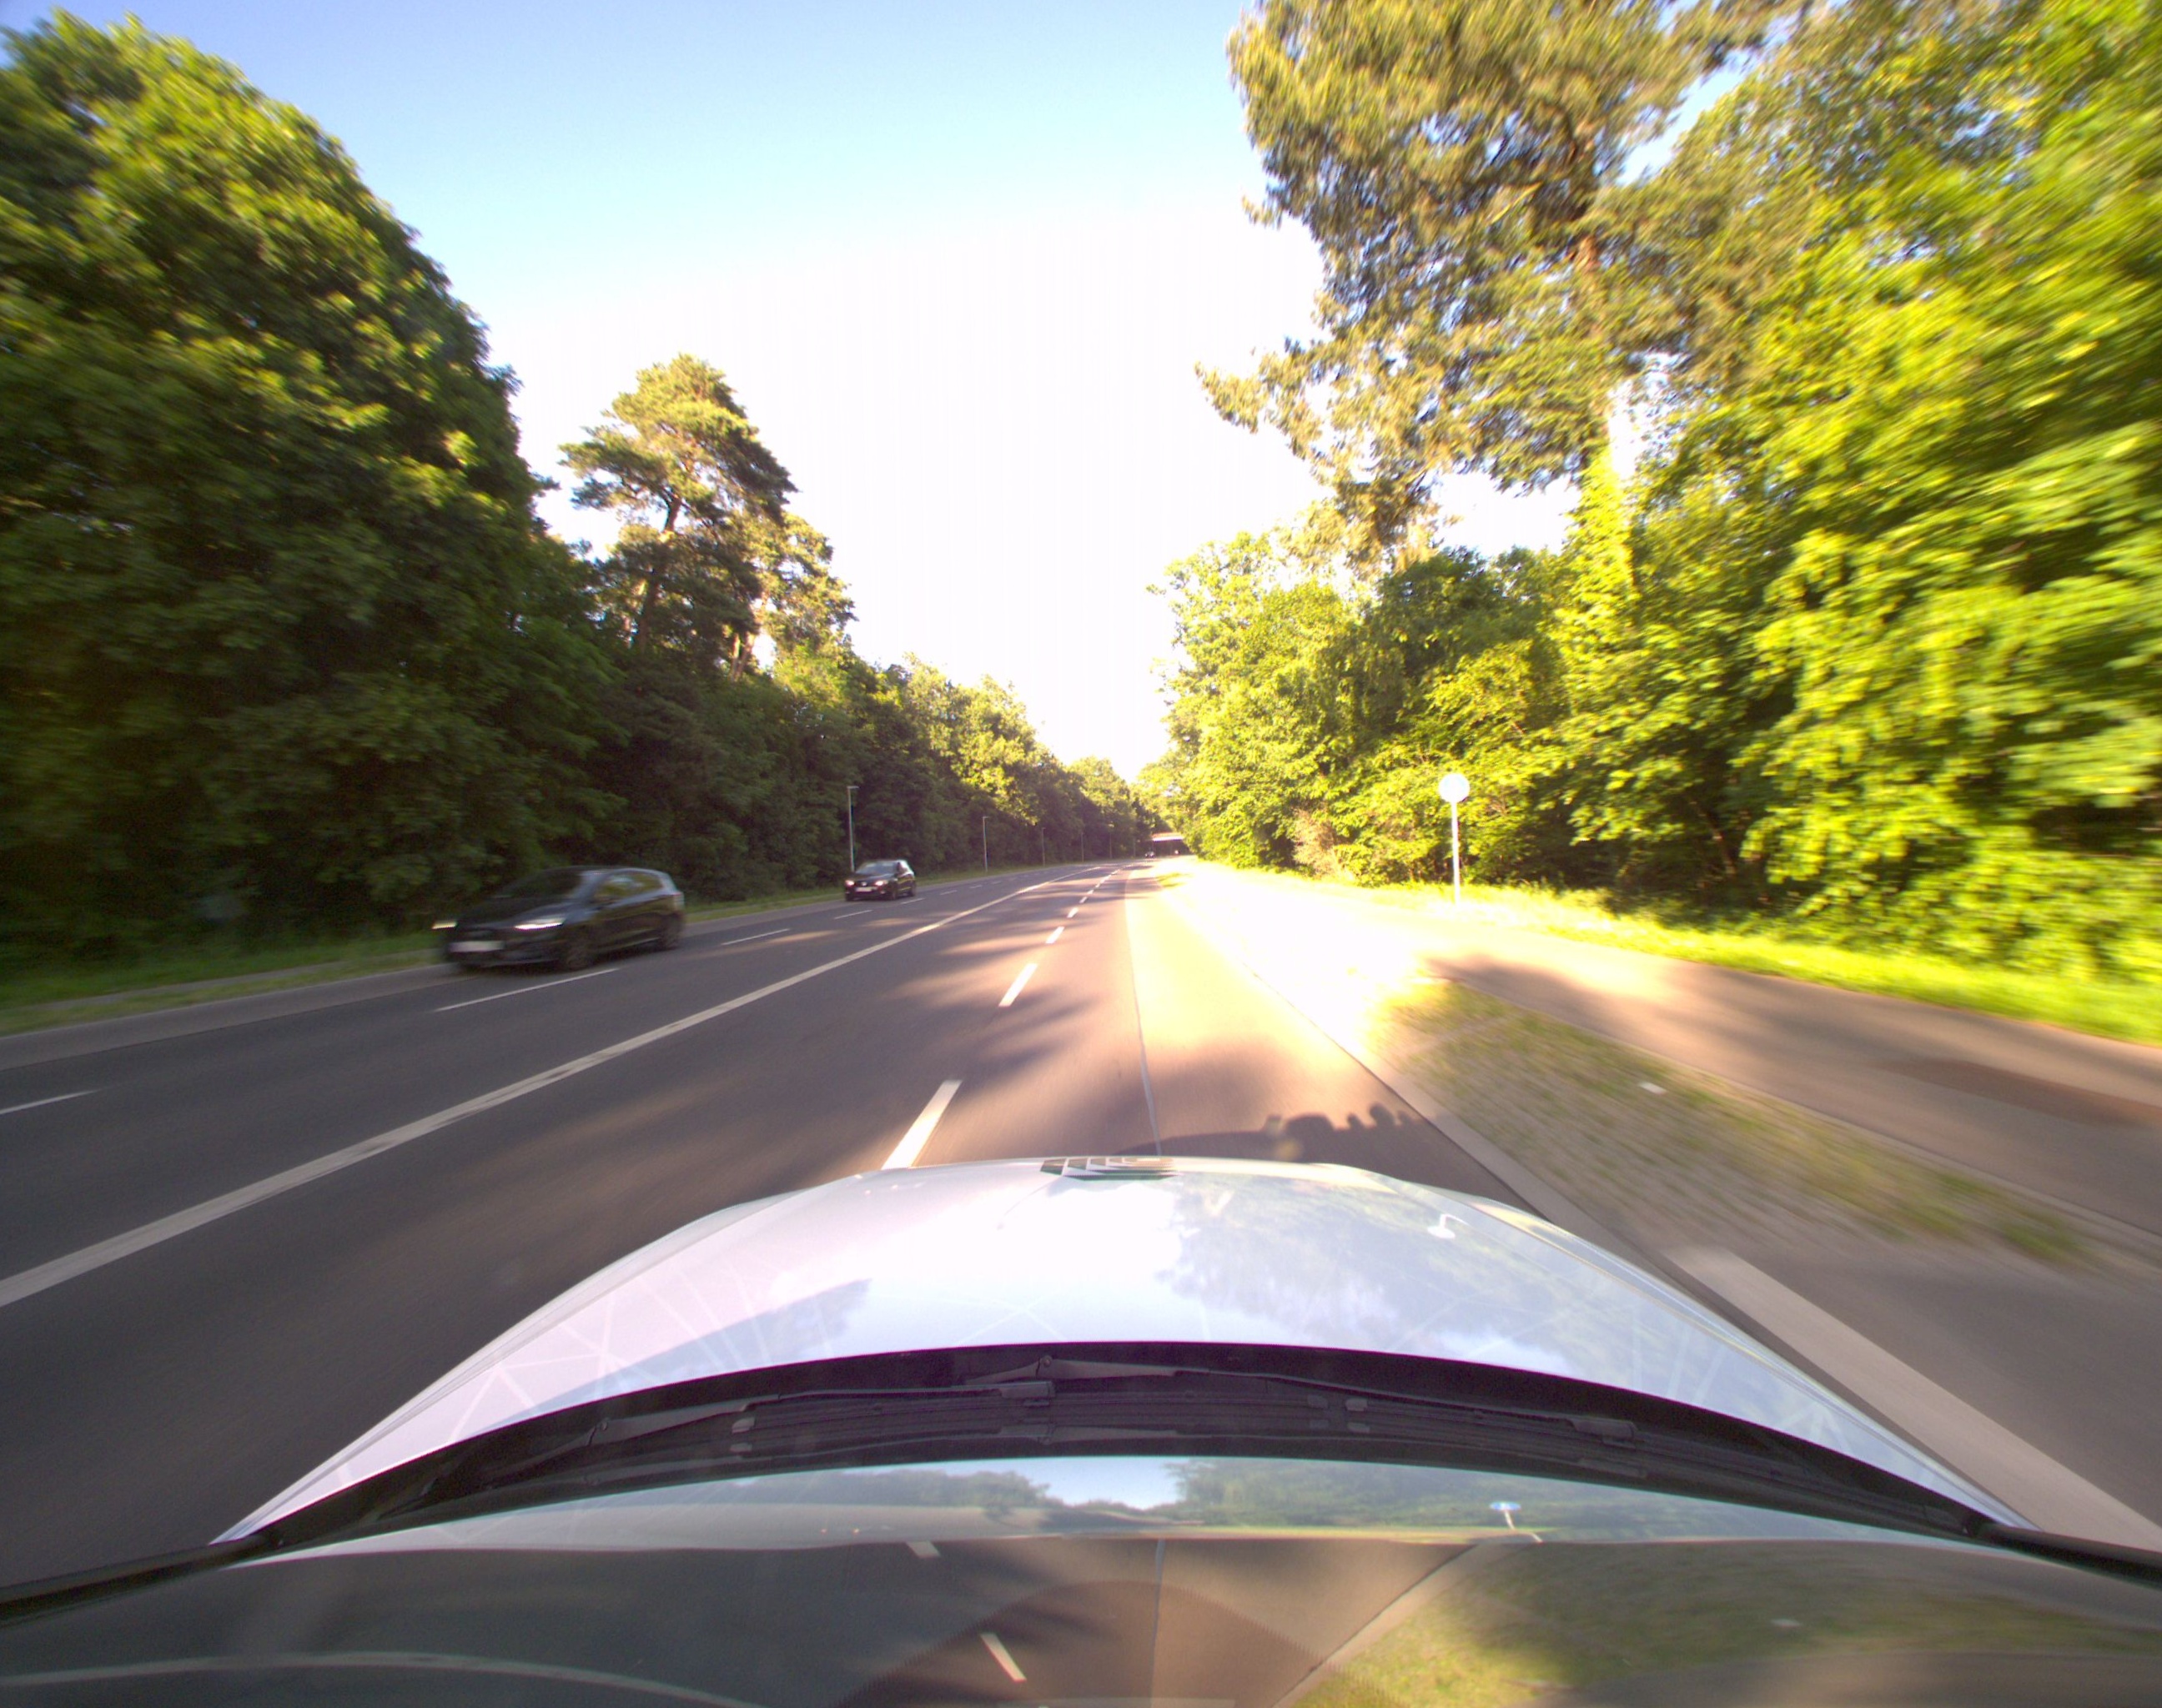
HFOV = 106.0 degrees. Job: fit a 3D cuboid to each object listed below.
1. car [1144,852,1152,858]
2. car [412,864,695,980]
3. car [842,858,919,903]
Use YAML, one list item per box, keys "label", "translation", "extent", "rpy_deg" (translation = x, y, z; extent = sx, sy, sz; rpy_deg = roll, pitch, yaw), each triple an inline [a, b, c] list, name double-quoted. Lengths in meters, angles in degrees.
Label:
- label: "car"
  translation: [17.529, 0.271, 213.349]
  extent: [1.798, 1.663, 4.529]
  rpy_deg: [-2, 0, 6]
- label: "car"
  translation: [-7.863, 0.914, 12.675]
  extent: [1.732, 1.457, 4.000]
  rpy_deg: [0, 0, 1]
- label: "car"
  translation: [-7.262, 0.907, 29.922]
  extent: [1.651, 1.480, 4.174]
  rpy_deg: [-2, 0, 2]
